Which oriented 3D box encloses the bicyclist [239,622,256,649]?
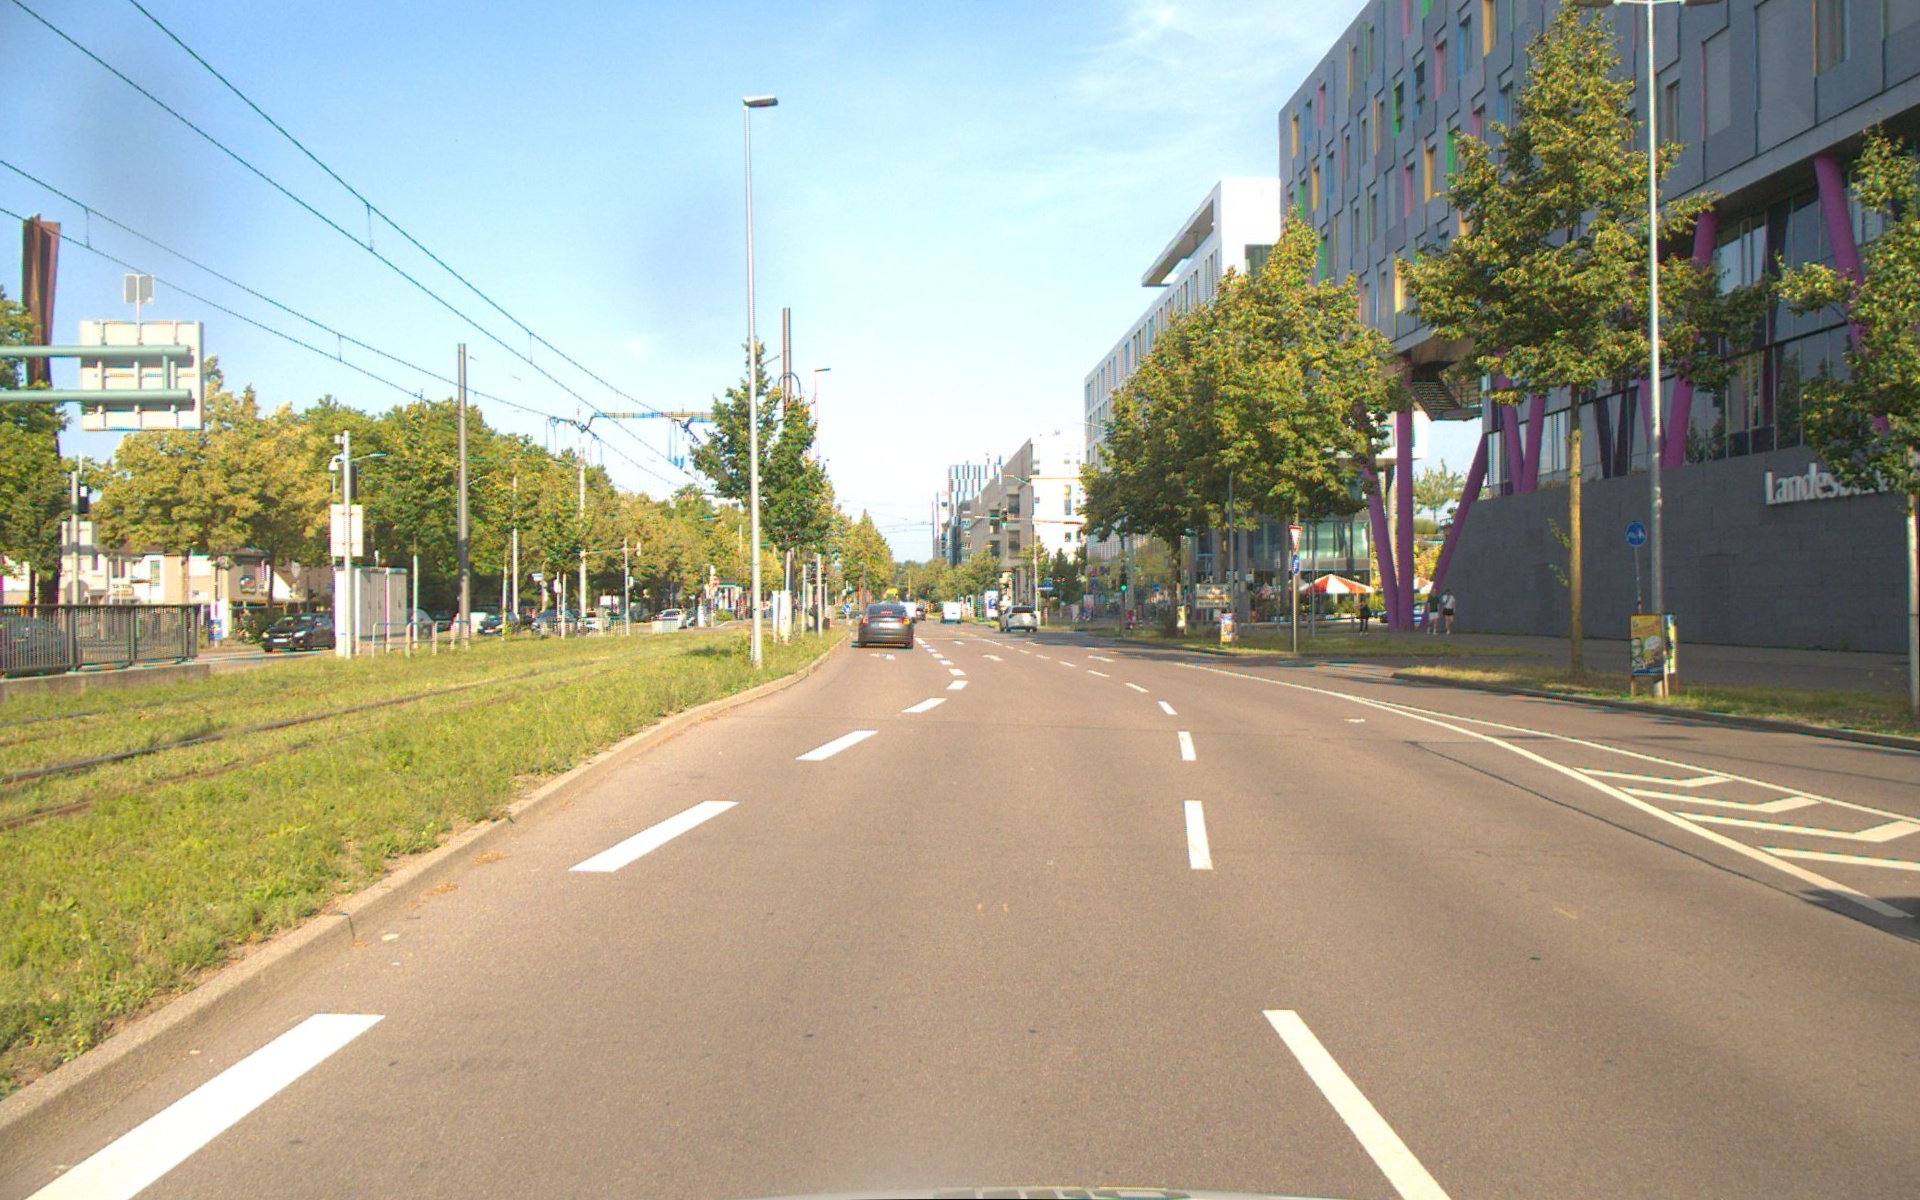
[{"bbox_3d":[-40.421,2.017,93.805,0.836,1.519,0.694,0,-1,-25],"label":"bicyclist"}]

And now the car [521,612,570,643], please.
[{"bbox_3d":[-24.072,1.591,96.191,1.955,1.554,4.907,-4,0,-5],"label":"car"}]

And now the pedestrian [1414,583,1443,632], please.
[{"bbox_3d":[18.005,0.282,63.566,0.739,1.825,0.843,-3,0,-4],"label":"pedestrian"}]

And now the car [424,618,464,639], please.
[{"bbox_3d":[-41.925,2.303,134.572,1.842,1.587,4.001,-1,-1,2],"label":"car"}]

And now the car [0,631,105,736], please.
[{"bbox_3d":[-17.374,1.470,29.529,1.954,1.717,4.723,-1,0,-3],"label":"car"}]

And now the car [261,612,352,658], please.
[{"bbox_3d":[-25.773,1.342,65.415,1.954,1.717,4.723,-1,0,-3],"label":"car"}]

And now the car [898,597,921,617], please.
[{"bbox_3d":[-4.541,0.653,147.929,1.974,1.713,3.998,1,0,-2],"label":"car"}]

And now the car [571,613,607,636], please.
[{"bbox_3d":[-27.473,1.803,122.611,1.867,1.554,4.439,-1,0,-3],"label":"car"}]

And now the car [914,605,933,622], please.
[{"bbox_3d":[-3.792,1.379,172.969,1.885,1.713,3.998,1,0,-2],"label":"car"}]

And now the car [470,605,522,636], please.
[{"bbox_3d":[-27.233,1.170,97.164,1.954,1.717,4.613,-1,0,-3],"label":"car"}]

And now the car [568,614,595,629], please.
[{"bbox_3d":[-40.511,2.333,177.177,1.842,1.587,4.001,-1,-1,2],"label":"car"}]

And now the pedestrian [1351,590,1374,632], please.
[{"bbox_3d":[16.627,0.457,68.298,0.680,1.667,0.736,-2,0,-4],"label":"pedestrian"}]

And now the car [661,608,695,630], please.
[{"bbox_3d":[-21.000,1.411,123.266,1.953,1.530,4.092,0,0,-2],"label":"car"}]

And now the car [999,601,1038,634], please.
[{"bbox_3d":[3.229,0.945,91.538,1.826,1.713,3.998,1,0,-2],"label":"car"}]

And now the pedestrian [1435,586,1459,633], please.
[{"bbox_3d":[18.731,0.367,63.590,0.643,1.825,0.786,0,-1,-4],"label":"pedestrian"}]

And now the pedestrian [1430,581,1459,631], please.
[{"bbox_3d":[18.645,0.238,63.624,0.753,1.857,0.852,-2,0,-4],"label":"pedestrian"}]

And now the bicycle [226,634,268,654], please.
[{"bbox_3d":[-40.427,2.477,93.790,2.168,1.059,0.694,-1,-1,-26],"label":"bicycle"}]

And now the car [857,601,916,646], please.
[{"bbox_3d":[-2.455,0.764,55.039,1.852,1.410,4.332,1,0,-3],"label":"car"}]

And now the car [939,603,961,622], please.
[{"bbox_3d":[-0.904,1.145,150.789,1.826,1.713,3.998,1,0,-2],"label":"car"}]

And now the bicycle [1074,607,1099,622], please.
[{"bbox_3d":[9.466,1.074,123.731,1.847,1.050,0.768,1,1,44],"label":"bicycle"}]
